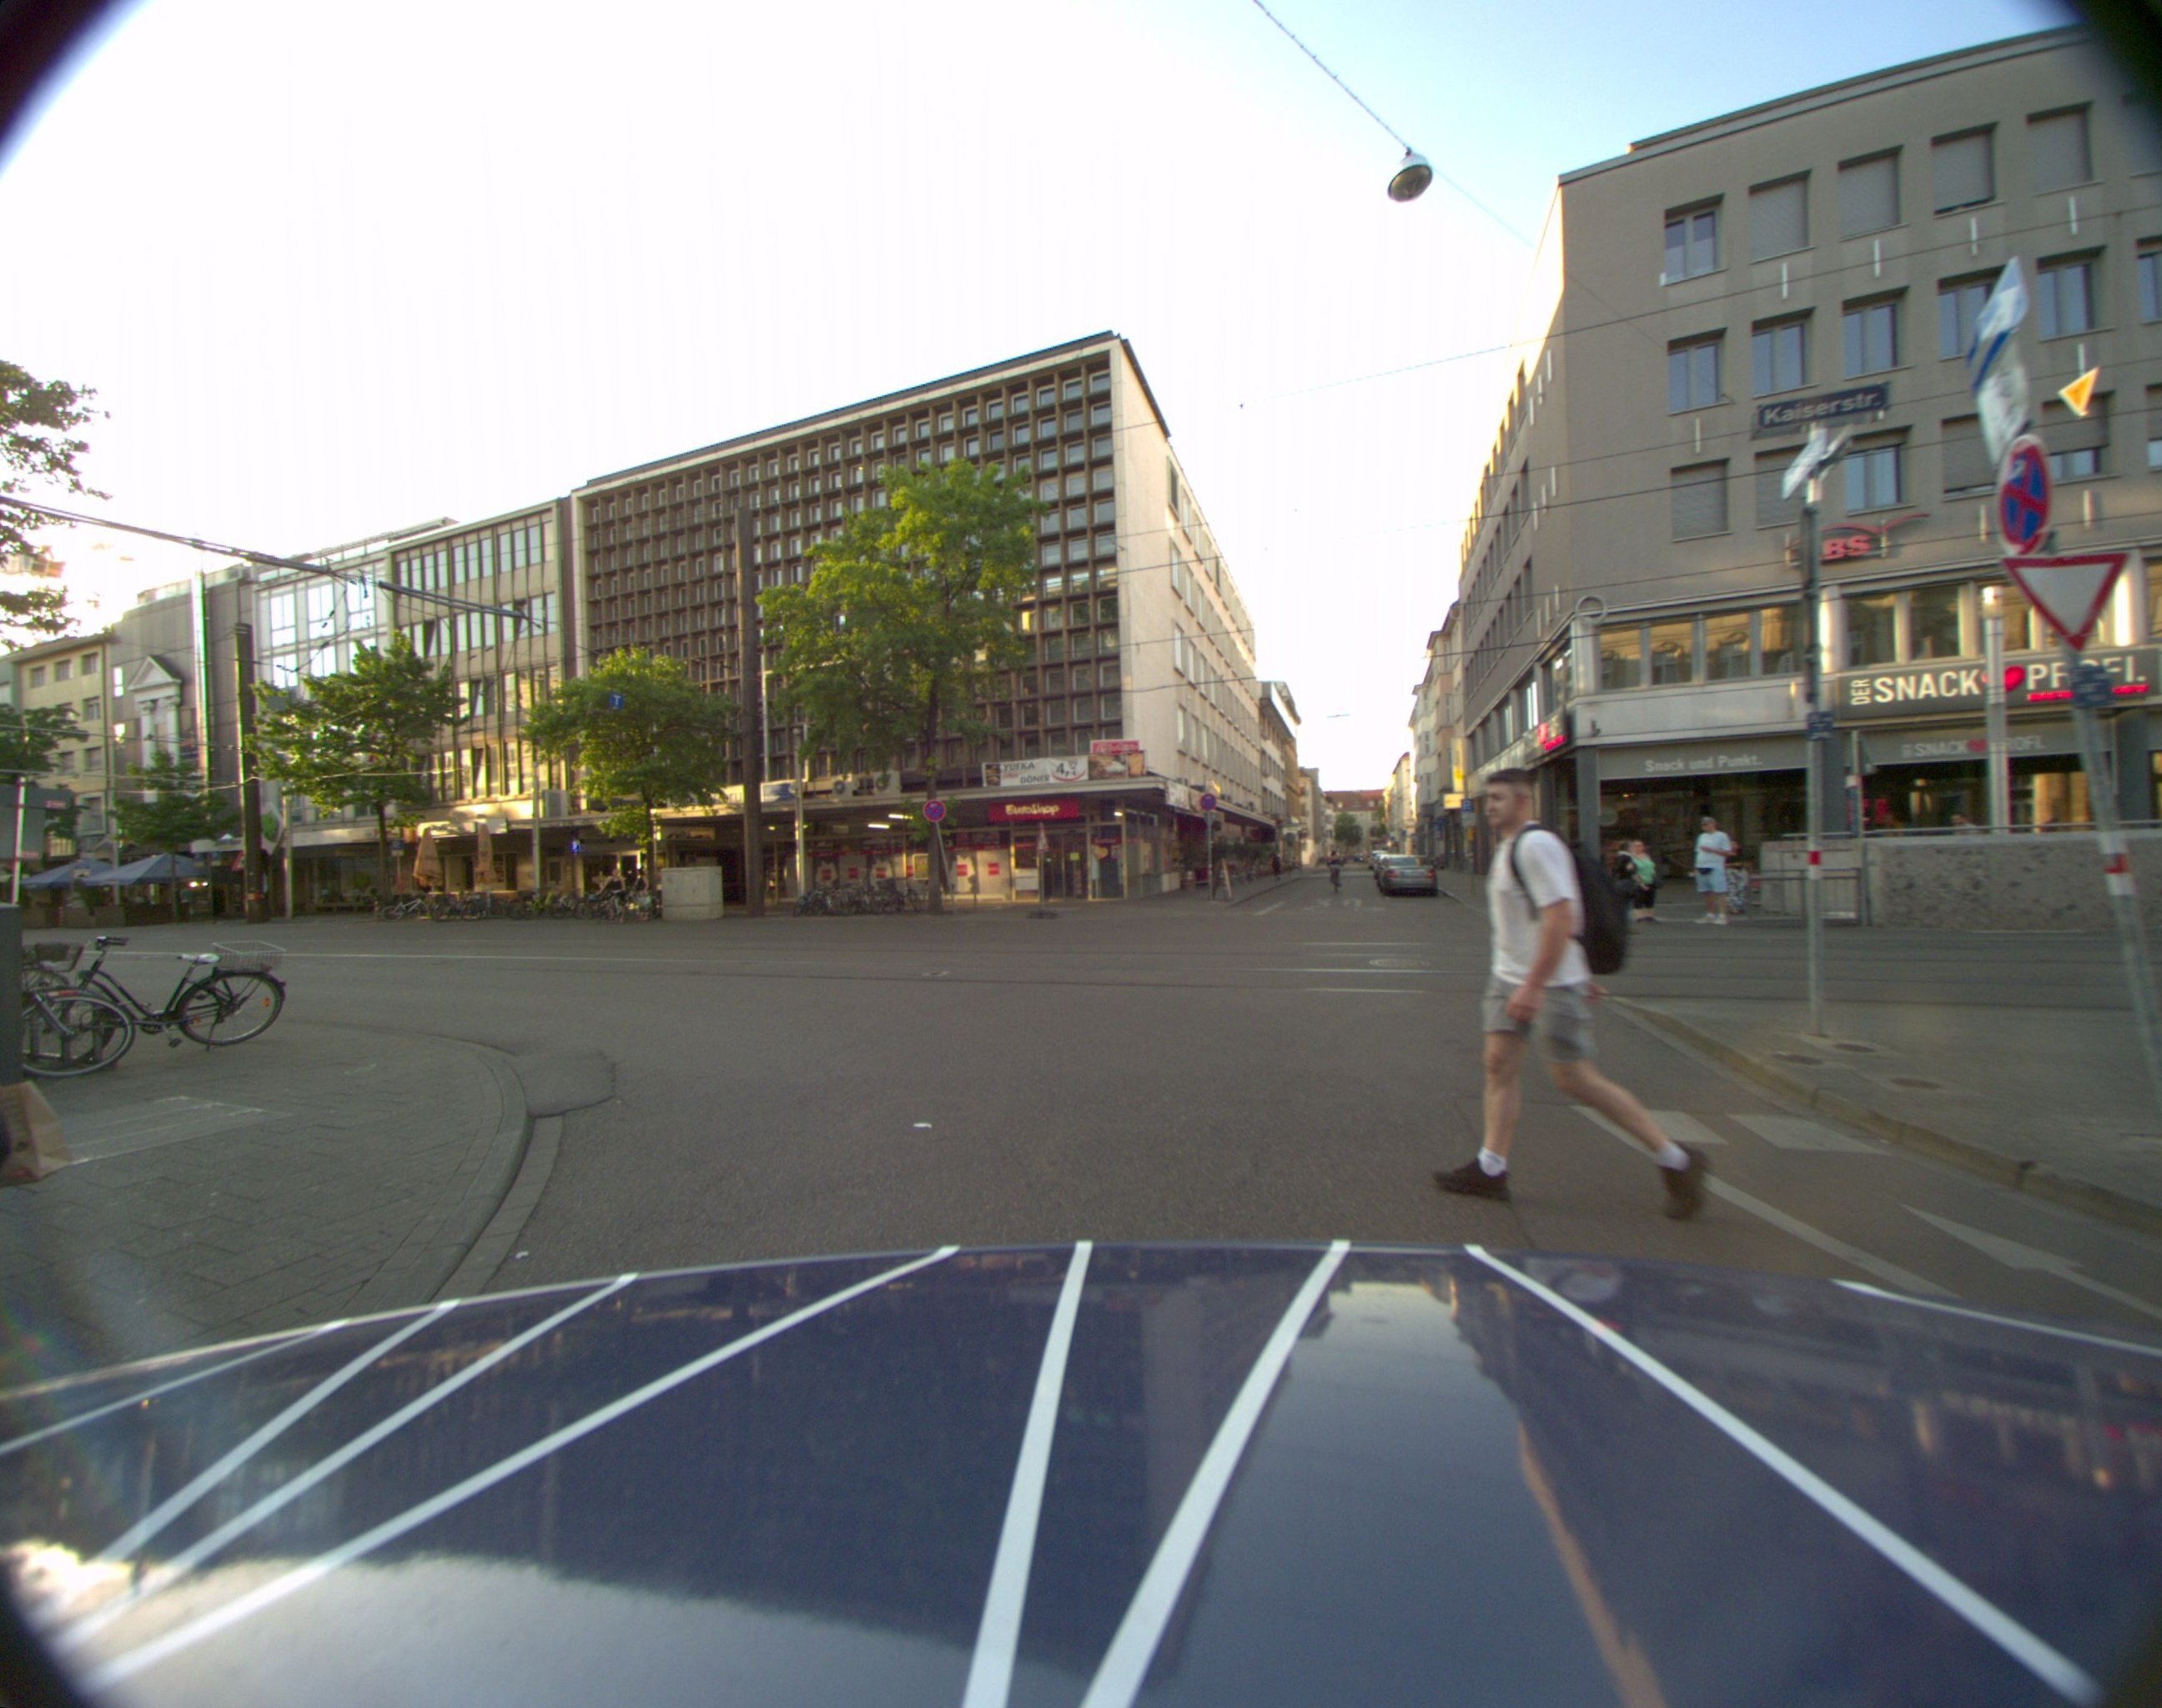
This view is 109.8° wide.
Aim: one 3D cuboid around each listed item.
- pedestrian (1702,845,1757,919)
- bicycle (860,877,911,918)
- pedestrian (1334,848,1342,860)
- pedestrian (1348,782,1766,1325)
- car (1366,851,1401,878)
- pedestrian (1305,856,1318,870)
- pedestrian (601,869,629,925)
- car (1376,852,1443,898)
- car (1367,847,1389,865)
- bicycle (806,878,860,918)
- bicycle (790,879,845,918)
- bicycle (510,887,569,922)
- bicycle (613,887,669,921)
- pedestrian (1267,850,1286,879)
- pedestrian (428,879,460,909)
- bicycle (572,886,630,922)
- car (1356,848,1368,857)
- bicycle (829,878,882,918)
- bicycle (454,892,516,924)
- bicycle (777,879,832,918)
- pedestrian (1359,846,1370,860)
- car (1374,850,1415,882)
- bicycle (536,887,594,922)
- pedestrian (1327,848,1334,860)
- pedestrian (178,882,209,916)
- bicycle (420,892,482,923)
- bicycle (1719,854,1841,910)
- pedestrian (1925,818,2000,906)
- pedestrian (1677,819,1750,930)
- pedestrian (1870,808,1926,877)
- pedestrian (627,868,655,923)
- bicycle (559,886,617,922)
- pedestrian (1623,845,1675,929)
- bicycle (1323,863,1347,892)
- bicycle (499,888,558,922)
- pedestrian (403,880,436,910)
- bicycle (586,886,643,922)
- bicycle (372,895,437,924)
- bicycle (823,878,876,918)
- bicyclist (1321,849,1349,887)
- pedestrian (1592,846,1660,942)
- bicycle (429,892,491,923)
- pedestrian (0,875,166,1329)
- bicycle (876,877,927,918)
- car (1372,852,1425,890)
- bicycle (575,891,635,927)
[{"bbox_3d":[12.924,0.541,15.141,0.556,1.425,0.683,-1,0,-32],"label":"pedestrian"},{"bbox_3d":[-5.770,1.269,22.531,0.488,1.039,1.780,-3,1,21],"label":"bicycle"},{"bbox_3d":[34.799,-0.022,102.916,0.975,1.651,0.979,-3,0,20],"label":"pedestrian"},{"bbox_3d":[1.866,0.688,3.172,1.042,1.852,1.016,-2,1,-5],"label":"pedestrian"},{"bbox_3d":[17.986,0.606,45.213,1.796,1.501,4.006,-1,0,22],"label":"car"},{"bbox_3d":[27.194,1.080,89.471,1.297,1.651,1.016,-2,0,23],"label":"pedestrian"},{"bbox_3d":[-14.589,1.332,23.774,0.604,1.689,0.534,-3,1,-40],"label":"pedestrian"},{"bbox_3d":[11.802,0.702,27.518,1.796,1.501,4.139,-1,0,18],"label":"car"},{"bbox_3d":[27.420,0.159,70.130,1.796,1.501,4.006,-1,0,22],"label":"car"},{"bbox_3d":[-7.538,1.327,23.164,0.488,1.039,1.780,-3,1,21],"label":"bicycle"},{"bbox_3d":[-8.071,1.344,23.364,0.488,1.039,1.780,-3,1,21],"label":"bicycle"},{"bbox_3d":[-19.654,1.824,27.642,0.488,1.065,1.779,-3,2,15],"label":"bicycle"},{"bbox_3d":[-14.408,1.628,24.884,1.774,1.039,0.490,-3,1,18],"label":"bicycle"},{"bbox_3d":[11.487,0.611,44.648,0.869,1.651,0.932,-3,0,23],"label":"pedestrian"},{"bbox_3d":[-29.003,1.819,34.603,0.910,1.318,0.673,-2,3,19],"label":"pedestrian"},{"bbox_3d":[-16.817,1.730,26.670,0.488,1.065,1.779,-3,2,15],"label":"bicycle"},{"bbox_3d":[50.162,-0.281,135.612,1.796,1.501,4.006,-1,0,22],"label":"car"},{"bbox_3d":[-6.762,1.301,22.898,0.488,1.039,1.780,-3,1,21],"label":"bicycle"},{"bbox_3d":[-21.870,1.951,27.917,0.488,0.984,1.779,-3,1,15],"label":"bicycle"},{"bbox_3d":[-8.530,1.359,23.537,0.488,1.039,1.780,-3,1,21],"label":"bicycle"},{"bbox_3d":[33.098,-0.111,88.682,0.869,1.651,0.932,-3,0,35],"label":"pedestrian"},{"bbox_3d":[16.043,0.587,39.000,1.796,1.501,4.006,-1,0,22],"label":"car"},{"bbox_3d":[-18.476,1.785,27.260,0.488,1.065,1.779,-3,2,15],"label":"bicycle"},{"bbox_3d":[33.907,0.007,103.318,0.869,1.651,0.932,-3,0,20],"label":"pedestrian"},{"bbox_3d":[-47.320,2.400,40.514,0.988,1.783,0.687,-2,3,22],"label":"pedestrian"},{"bbox_3d":[-23.686,2.011,28.587,0.488,0.984,1.779,-3,1,15],"label":"bicycle"},{"bbox_3d":[14.807,0.606,16.146,1.796,1.101,0.501,-4,-1,25],"label":"bicycle"},{"bbox_3d":[17.703,0.168,15.274,0.708,1.715,0.717,-1,0,19],"label":"pedestrian"},{"bbox_3d":[11.283,0.366,13.575,0.708,1.915,0.776,-1,0,13],"label":"pedestrian"},{"bbox_3d":[20.908,-0.292,19.469,0.708,1.715,0.717,-1,0,19],"label":"pedestrian"},{"bbox_3d":[-13.908,1.306,24.023,0.604,1.689,0.534,-3,1,-40],"label":"pedestrian"},{"bbox_3d":[-17.346,1.748,26.807,0.488,1.065,1.779,-3,2,15],"label":"bicycle"},{"bbox_3d":[10.345,0.593,13.853,0.554,1.485,0.606,-1,0,13],"label":"pedestrian"},{"bbox_3d":[10.445,0.957,31.192,0.816,1.067,2.116,-3,-1,20],"label":"bicycle"},{"bbox_3d":[-20.202,1.842,27.823,0.488,1.065,1.779,-3,2,15],"label":"bicycle"},{"bbox_3d":[-30.225,1.870,34.728,0.910,1.318,0.673,-2,3,19],"label":"pedestrian"},{"bbox_3d":[-16.210,1.710,26.435,0.488,1.065,1.779,-3,2,15],"label":"bicycle"},{"bbox_3d":[-26.297,2.143,29.559,0.488,0.960,1.781,0,3,37],"label":"bicycle"},{"bbox_3d":[-6.988,1.309,22.985,0.488,1.039,1.780,-3,1,21],"label":"bicycle"},{"bbox_3d":[10.424,0.575,31.178,0.998,1.493,0.858,-3,0,20],"label":"bicyclist"},{"bbox_3d":[9.061,0.649,12.642,0.606,1.532,0.685,-1,0,-22],"label":"pedestrian"},{"bbox_3d":[-23.189,1.995,28.413,0.488,0.984,1.779,-3,1,15],"label":"bicycle"},{"bbox_3d":[-4.564,0.961,3.000,0.995,1.687,0.773,-2,1,12],"label":"pedestrian"},{"bbox_3d":[-5.240,1.252,22.296,0.488,1.039,1.780,-3,1,21],"label":"bicycle"},{"bbox_3d":[13.791,0.695,33.172,1.796,1.501,4.139,-1,0,18],"label":"car"},{"bbox_3d":[-14.731,1.704,23.491,1.774,1.039,0.490,-3,1,18],"label":"bicycle"}]
